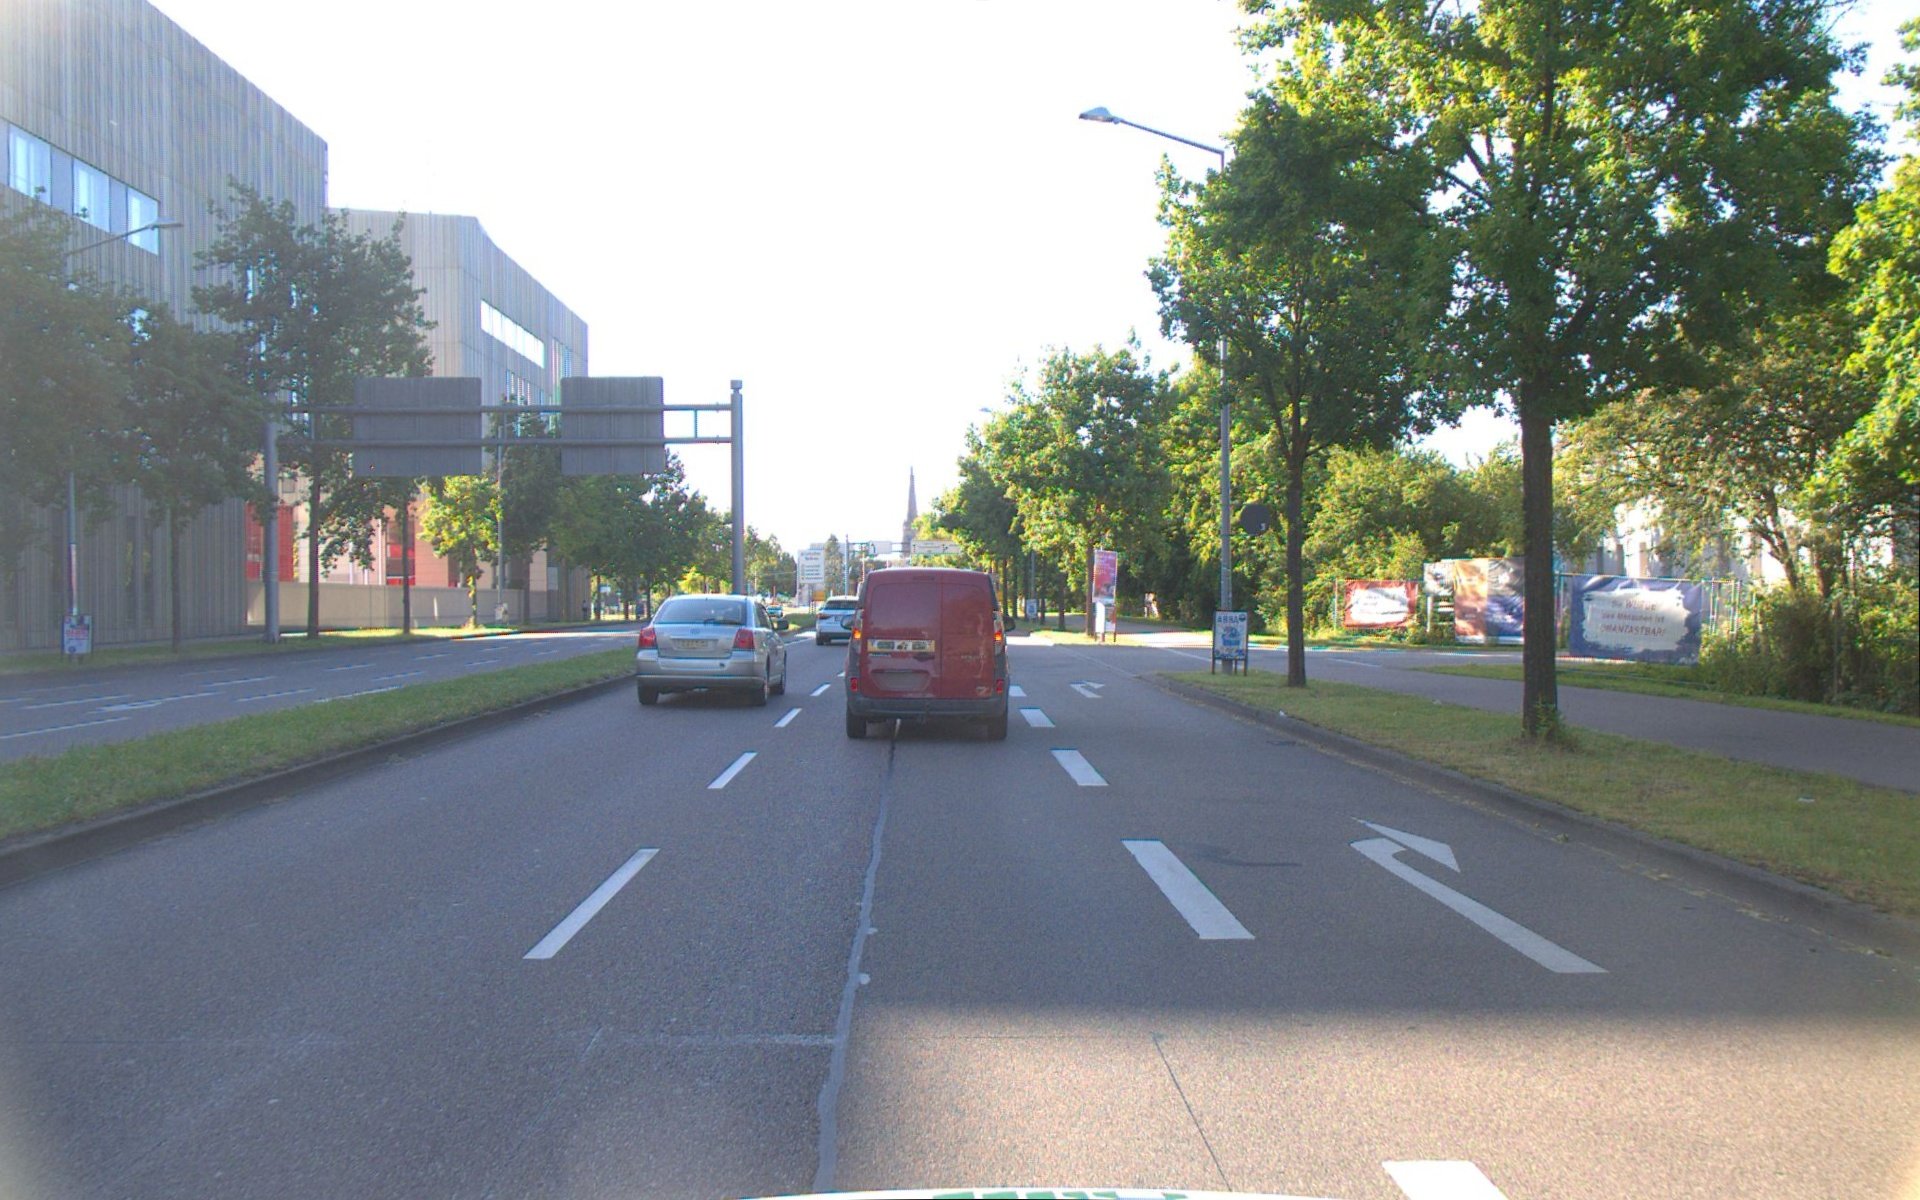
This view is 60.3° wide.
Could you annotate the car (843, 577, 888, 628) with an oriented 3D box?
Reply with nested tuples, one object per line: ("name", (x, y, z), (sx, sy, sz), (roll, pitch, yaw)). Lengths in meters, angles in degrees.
("car", (-3.595, 0.101, 63.302), (1.628, 1.889, 3.557), (0, 0, -2))

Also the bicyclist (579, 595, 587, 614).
("bicyclist", (-28.520, 0.317, 125.183), (0.472, 1.419, 0.844), (0, -1, -3))

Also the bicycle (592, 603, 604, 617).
("bicycle", (-27.354, 0.763, 124.962), (0.558, 1.021, 2.095), (0, -1, -3))

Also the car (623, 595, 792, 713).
("car", (-3.430, 0.697, 23.196), (1.803, 1.482, 4.161), (1, 0, -1))

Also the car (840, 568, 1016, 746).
("car", (-0.389, 0.588, 18.807), (1.770, 1.790, 4.004), (1, 0, -2))

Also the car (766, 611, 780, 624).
("car", (-21.774, 2.051, 192.944), (1.417, 1.461, 3.457), (0, 0, -3))

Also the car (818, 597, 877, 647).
("car", (-3.338, 0.641, 49.503), (1.628, 1.422, 3.557), (0, 0, -2))

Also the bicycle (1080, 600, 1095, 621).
("bicycle", (7.304, 0.602, 94.801), (0.757, 1.151, 1.709), (0, 0, 6))

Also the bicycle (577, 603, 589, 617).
("bicycle", (-28.512, 0.756, 125.114), (0.477, 1.021, 2.095), (0, -1, -3))
